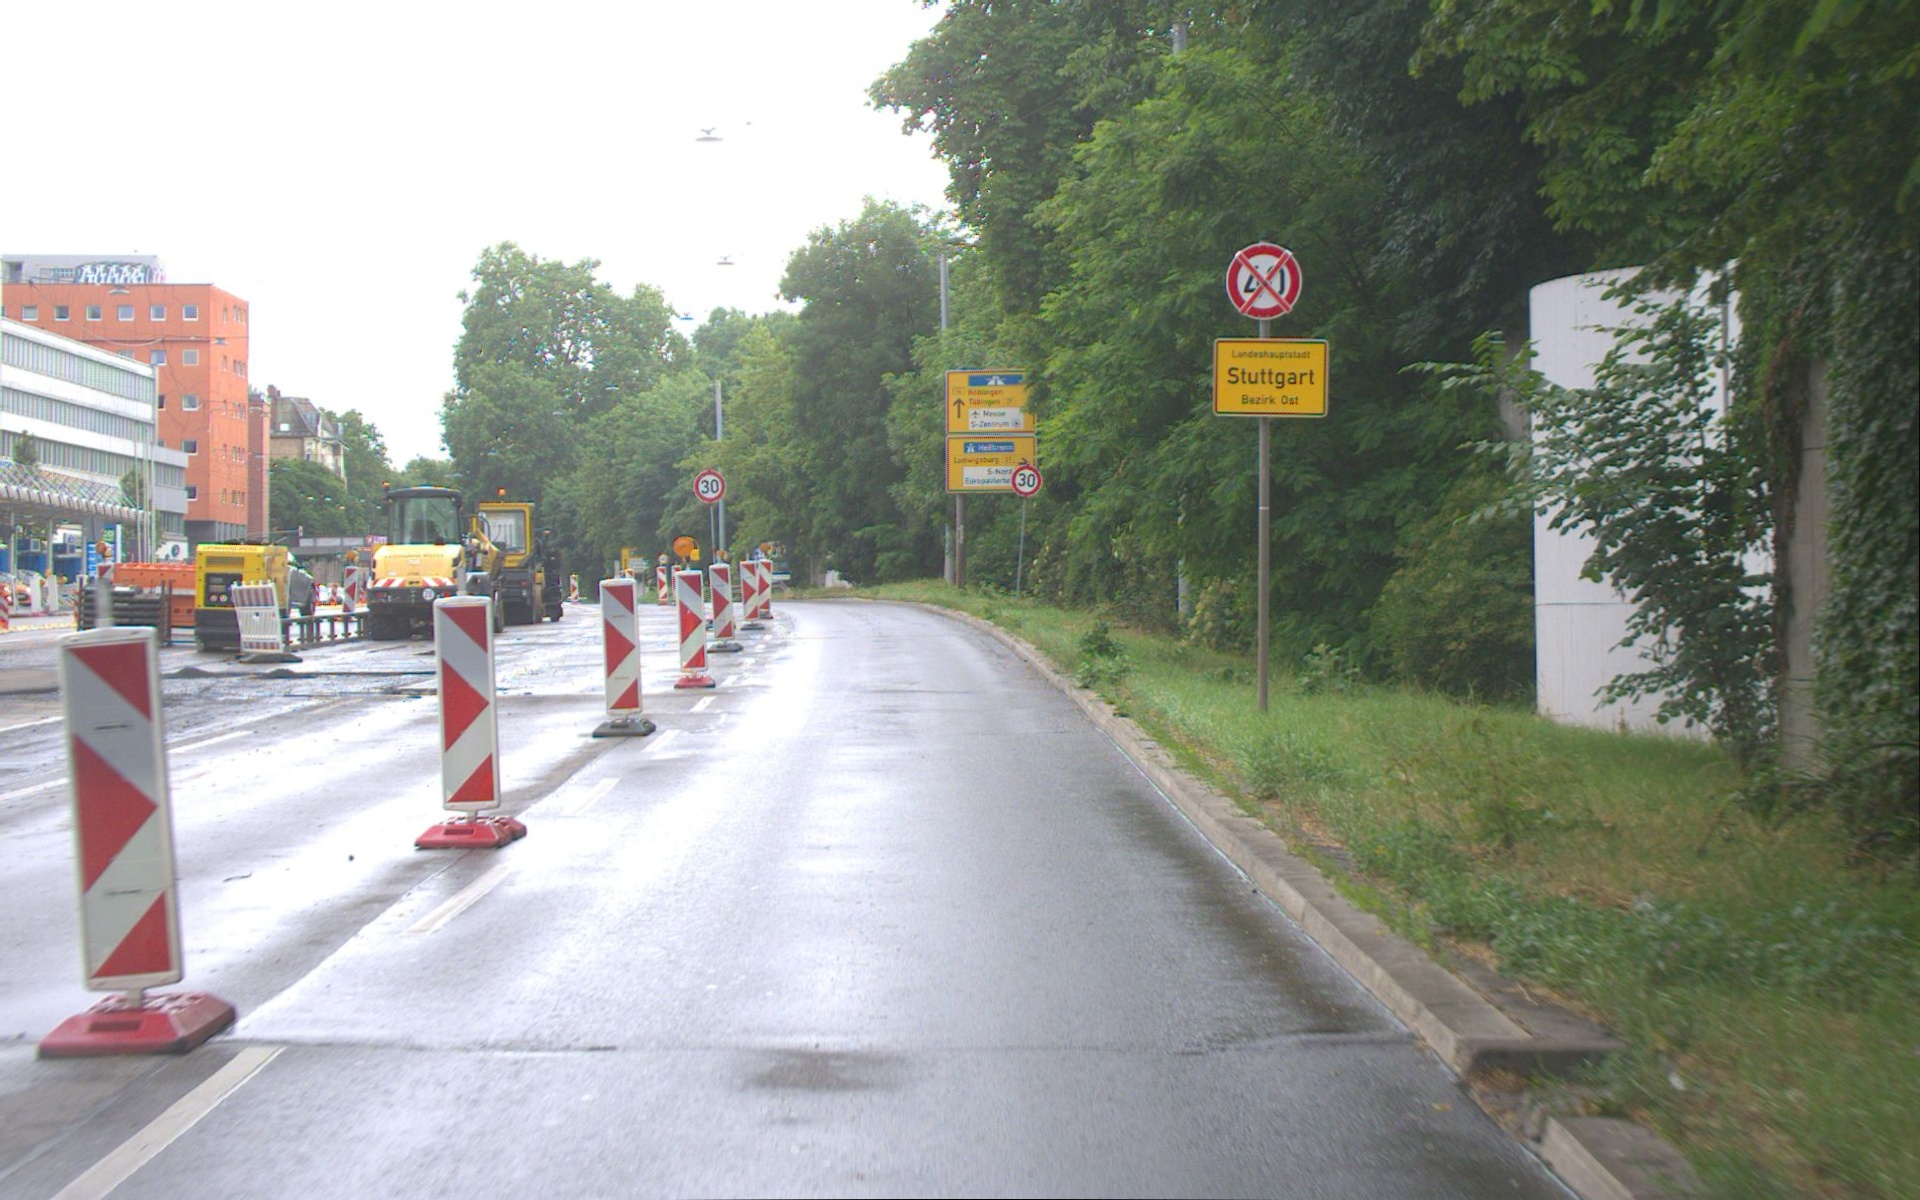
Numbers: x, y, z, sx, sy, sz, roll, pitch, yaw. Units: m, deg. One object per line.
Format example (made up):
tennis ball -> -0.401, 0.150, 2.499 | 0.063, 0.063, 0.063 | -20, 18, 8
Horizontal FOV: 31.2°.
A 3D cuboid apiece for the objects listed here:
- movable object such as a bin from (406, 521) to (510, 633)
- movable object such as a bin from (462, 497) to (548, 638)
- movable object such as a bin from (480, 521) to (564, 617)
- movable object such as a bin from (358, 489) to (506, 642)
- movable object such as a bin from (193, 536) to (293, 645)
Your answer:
movable object such as a bin -> -9.712, -0.475, 66.740 | 1.362, 2.083, 5.030 | 0, 1, -1
movable object such as a bin -> -10.019, -0.724, 75.948 | 1.465, 2.998, 3.725 | -2, 1, -3
movable object such as a bin -> -10.218, -0.742, 80.288 | 1.715, 2.142, 3.350 | -2, 1, -4
movable object such as a bin -> -9.370, -0.639, 61.355 | 1.902, 2.600, 5.383 | 0, 1, -1
movable object such as a bin -> -10.996, -0.157, 52.815 | 1.083, 1.639, 2.439 | 0, 1, -2
